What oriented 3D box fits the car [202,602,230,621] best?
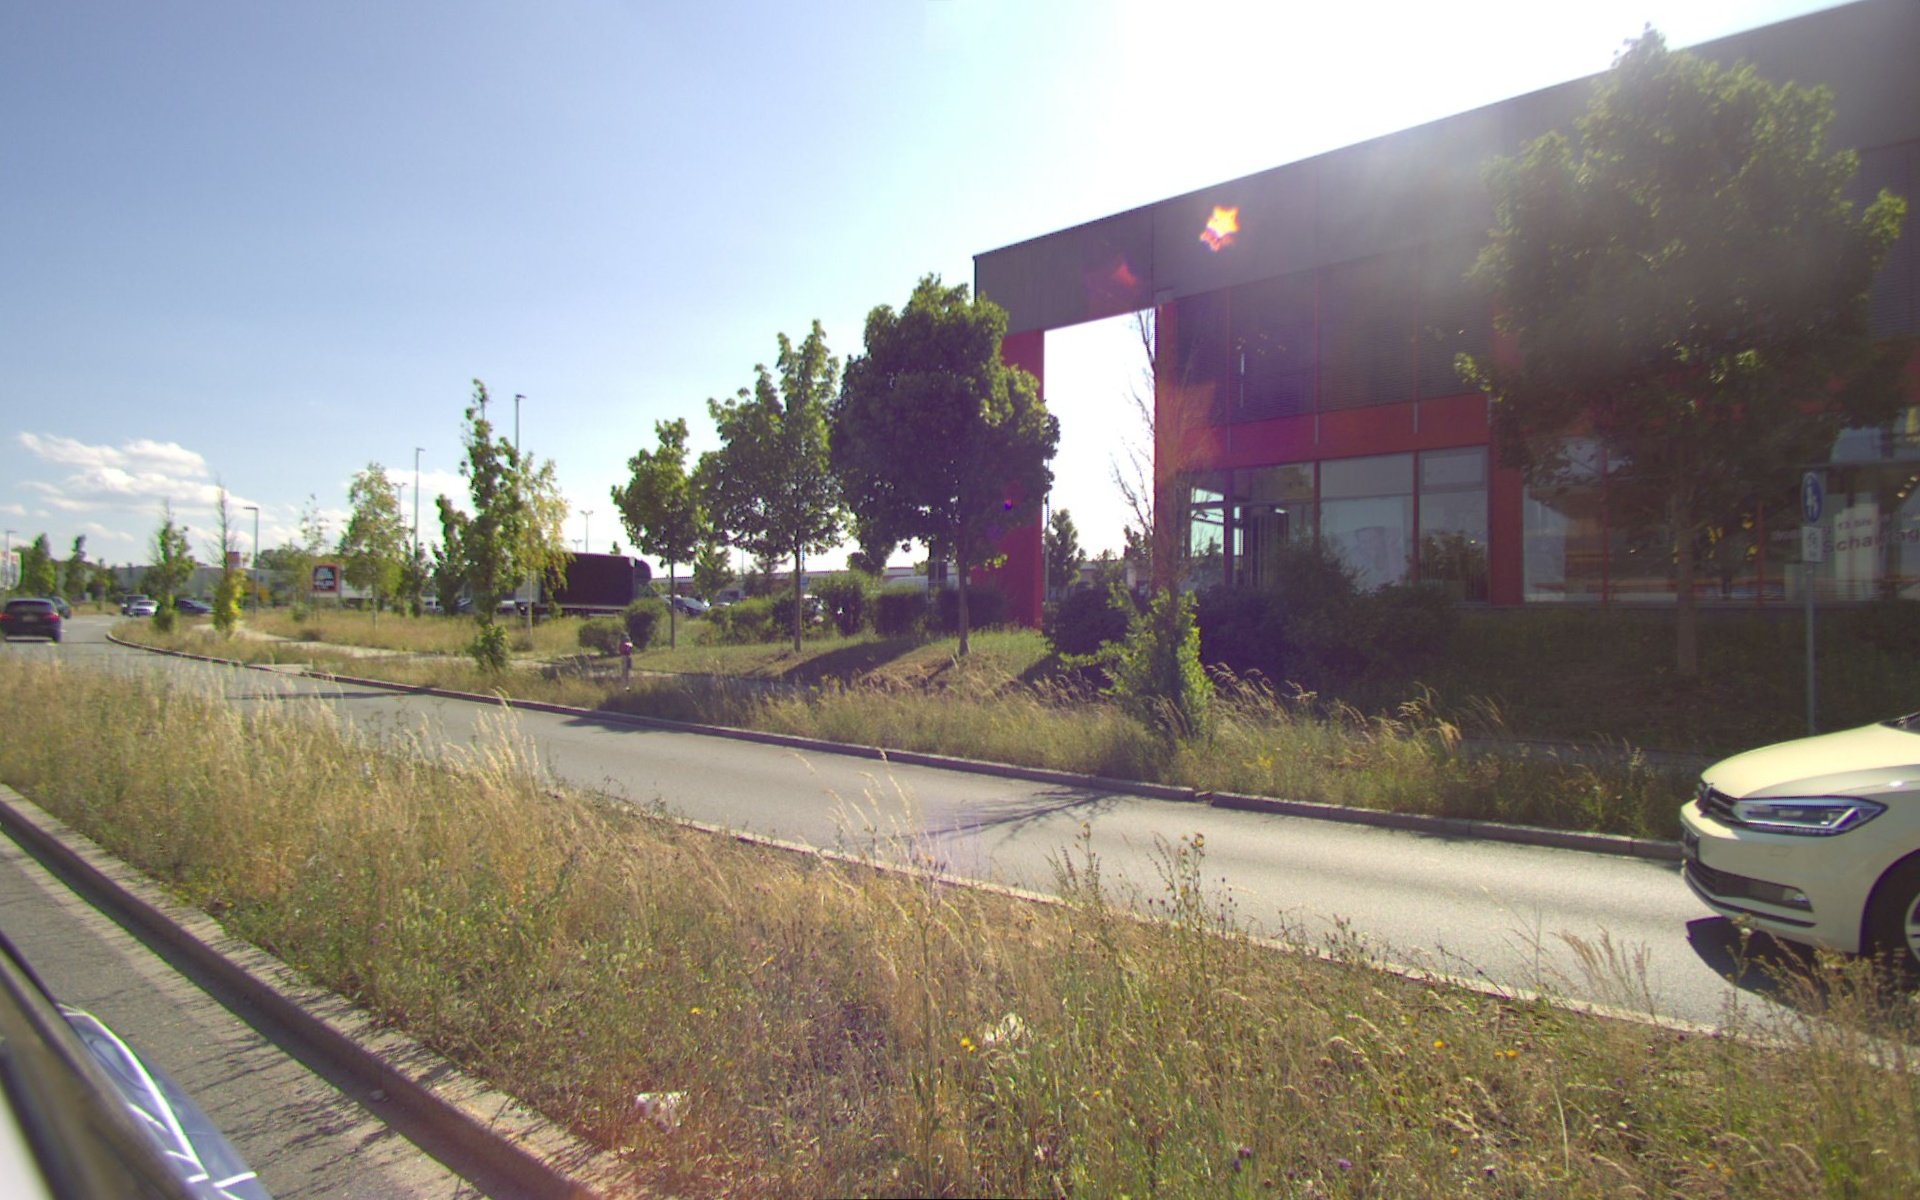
[{"bbox_3d":[-76.185,1.225,103.722,1.924,1.808,4.439,3,-3,-32],"label":"car"}]

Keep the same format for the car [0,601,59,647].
[{"bbox_3d":[-34.486,0.857,36.852,4.235,1.555,1.741,0,-4,39],"label":"car"}]

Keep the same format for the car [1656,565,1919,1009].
[{"bbox_3d":[5.629,0.732,3.896,4.565,1.678,1.830,-1,-4,26],"label":"car"}]

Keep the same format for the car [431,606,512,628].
[{"bbox_3d":[-31.109,1.092,64.450,4.364,1.394,1.980,1,-1,-35],"label":"car"}]

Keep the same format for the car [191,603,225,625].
[{"bbox_3d":[-58.097,1.093,78.175,1.730,1.700,4.387,2,-2,-42],"label":"car"}]

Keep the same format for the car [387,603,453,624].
[{"bbox_3d":[-44.262,1.102,83.043,4.694,1.656,2.122,0,-2,-26],"label":"car"}]

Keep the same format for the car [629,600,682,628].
[{"bbox_3d":[-23.356,1.074,77.631,4.380,2.080,1.813,0,-1,41],"label":"car"}]

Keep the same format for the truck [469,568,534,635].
[{"bbox_3d":[-25.812,0.136,57.234,2.284,3.491,7.516,1,-1,-17],"label":"truck"}]

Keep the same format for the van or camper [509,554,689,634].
[{"bbox_3d":[-16.845,-0.173,47.670,2.557,3.495,7.604,0,-2,45],"label":"van or camper"}]

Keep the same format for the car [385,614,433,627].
[{"bbox_3d":[-71.876,2.710,132.082,5.118,1.685,2.002,2,-2,-43],"label":"car"}]

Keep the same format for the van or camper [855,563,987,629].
[{"bbox_3d":[-2.130,-0.165,53.485,7.229,3.296,2.405,0,-1,40],"label":"van or camper"}]

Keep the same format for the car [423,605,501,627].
[{"bbox_3d":[-33.924,1.104,68.928,4.514,1.469,1.843,1,-1,-35],"label":"car"}]

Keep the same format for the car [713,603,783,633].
[{"bbox_3d":[-12.911,1.076,61.452,4.376,1.787,1.814,0,-1,39],"label":"car"}]
